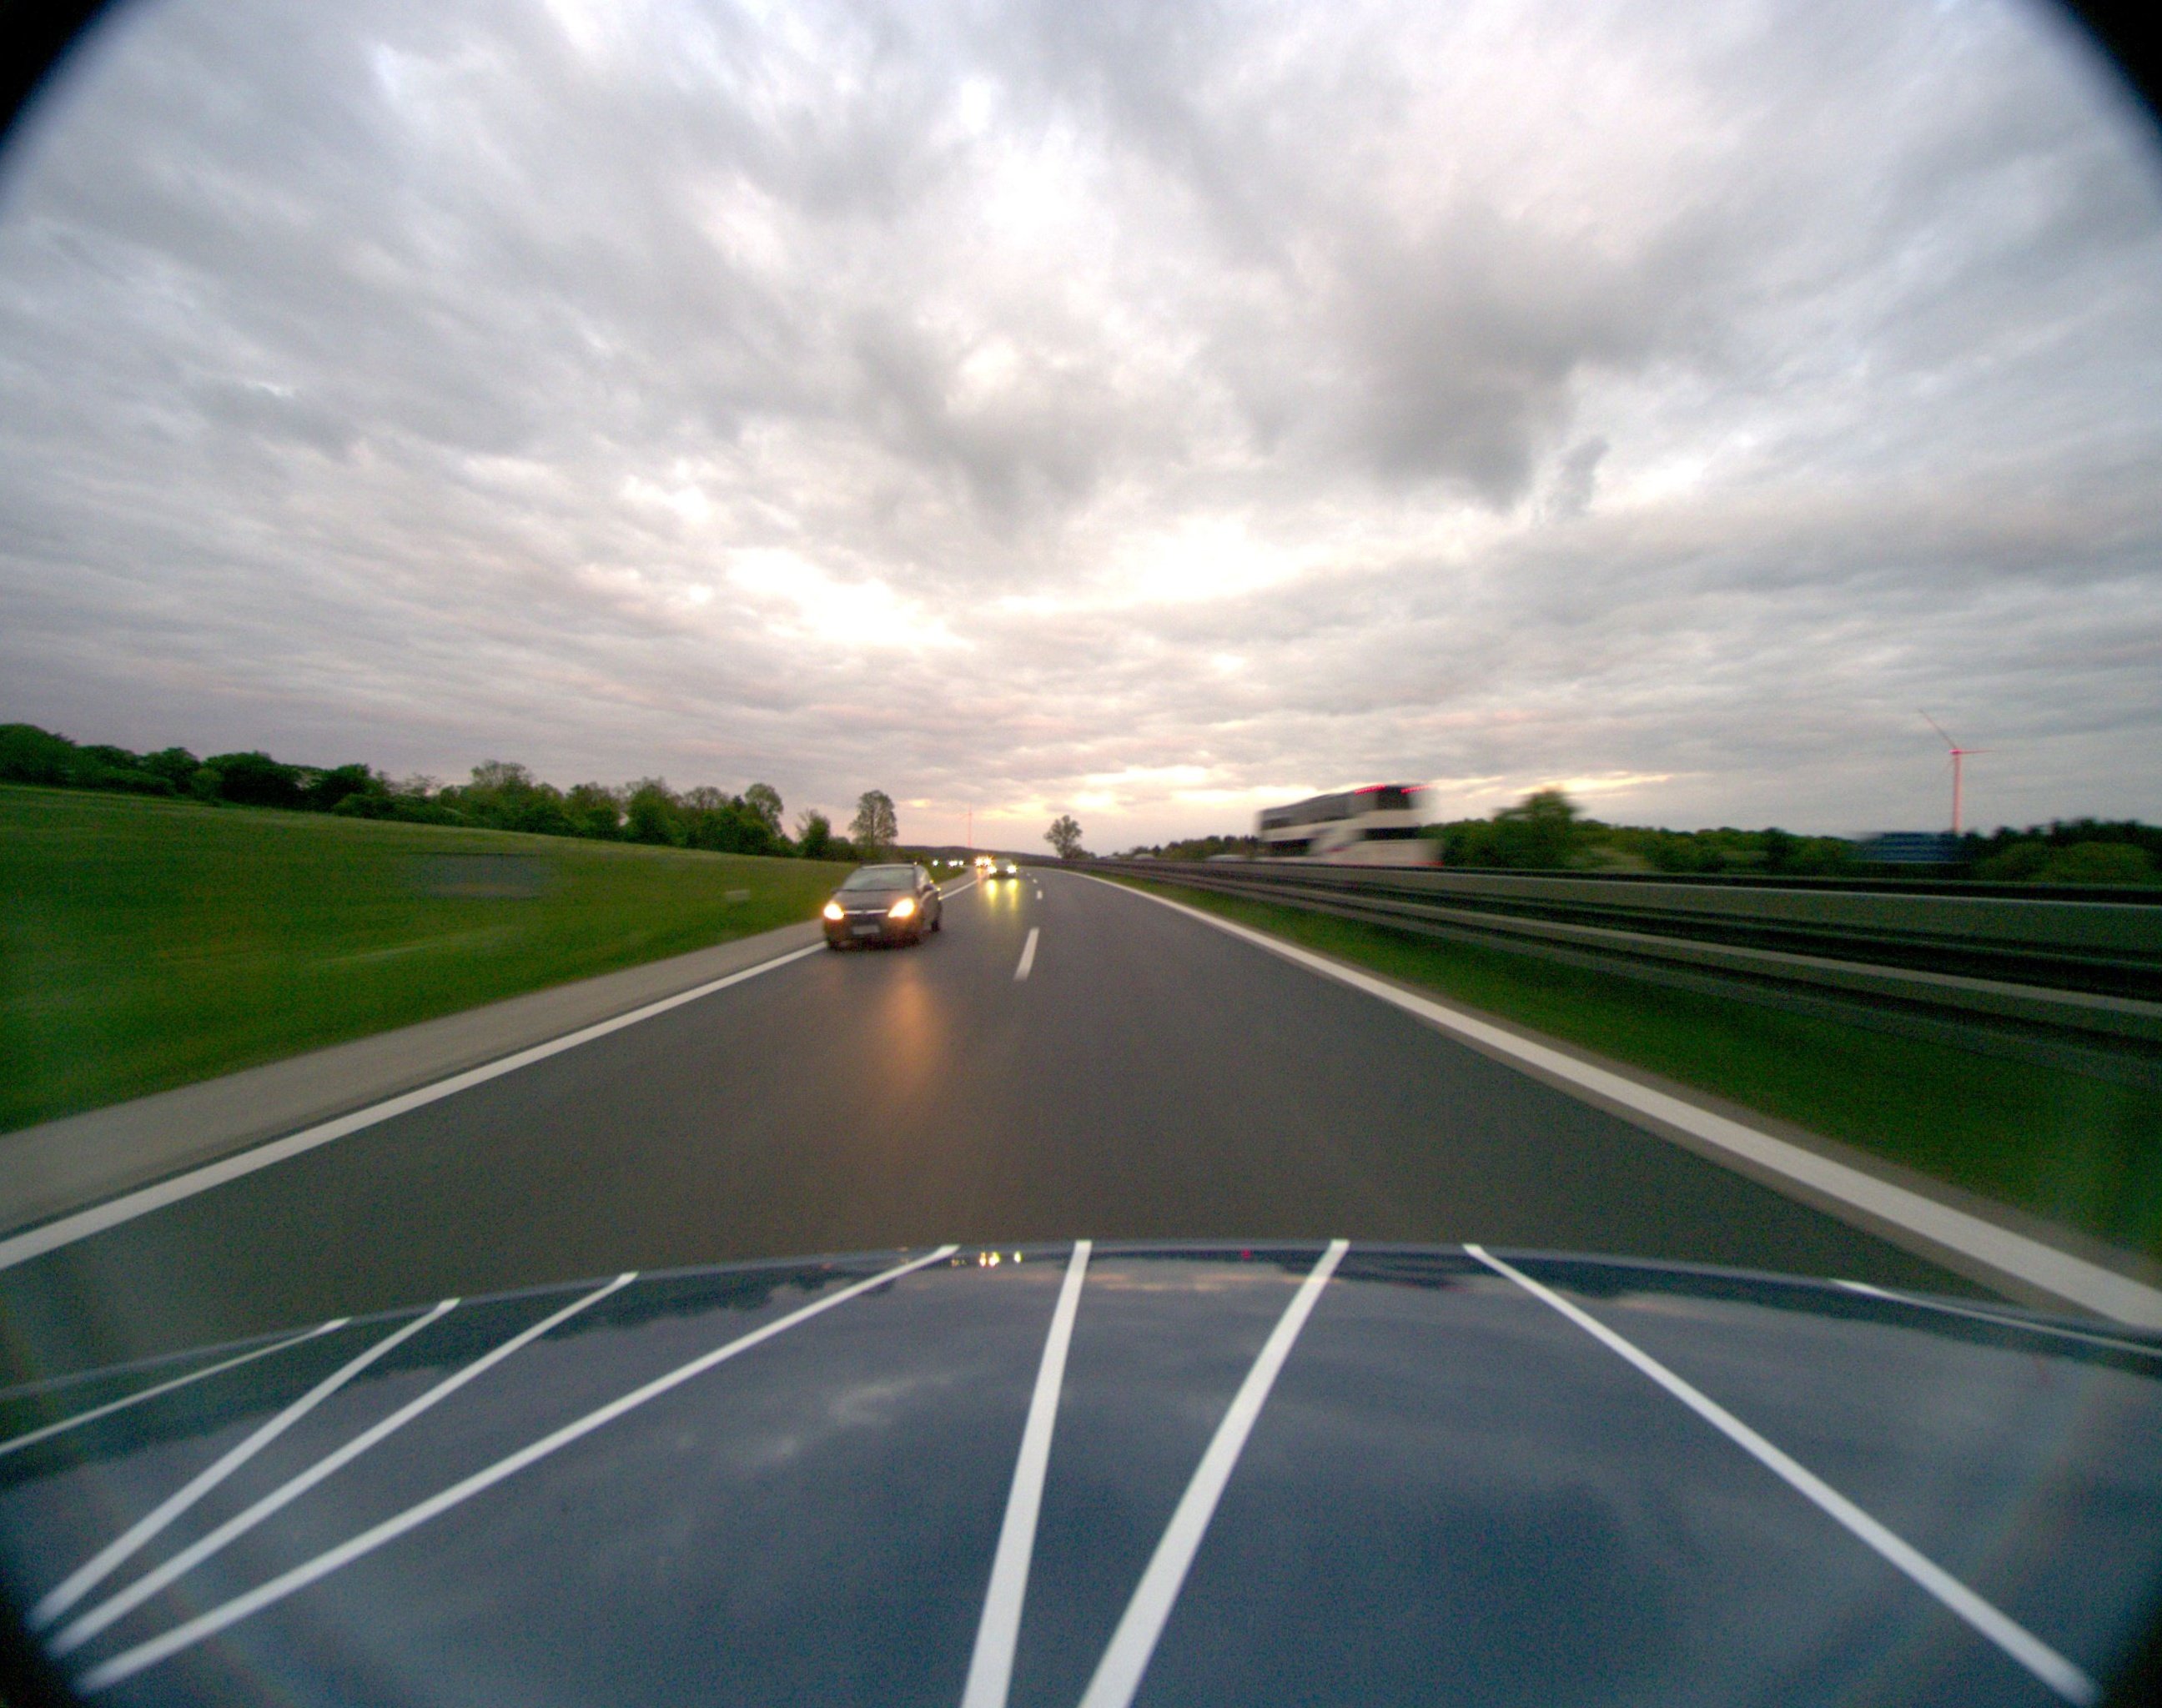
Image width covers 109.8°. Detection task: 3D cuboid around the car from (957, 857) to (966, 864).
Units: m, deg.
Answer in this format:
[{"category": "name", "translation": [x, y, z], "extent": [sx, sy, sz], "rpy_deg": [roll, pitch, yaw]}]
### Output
[{"category": "car", "translation": [-31.417, 1.717, 199.717], "extent": [1.804, 1.635, 4.088], "rpy_deg": [-1, 1, -15]}]

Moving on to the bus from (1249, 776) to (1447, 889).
[{"category": "bus", "translation": [11.501, -0.891, 35.441], "extent": [3.175, 4.053, 14.804], "rpy_deg": [-2, 1, -3]}]

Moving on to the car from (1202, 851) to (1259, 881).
[{"category": "car", "translation": [7.535, 0.584, 38.788], "extent": [1.856, 1.466, 4.166], "rpy_deg": [0, 0, -4]}]

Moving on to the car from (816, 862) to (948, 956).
[{"category": "car", "translation": [-3.748, 0.959, 14.964], "extent": [1.682, 1.504, 3.999], "rpy_deg": [-2, 0, -3]}]

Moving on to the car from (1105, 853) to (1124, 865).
[{"category": "car", "translation": [4.396, 0.618, 101.187], "extent": [1.921, 1.501, 4.727], "rpy_deg": [0, 0, -5]}]

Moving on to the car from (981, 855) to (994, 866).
[{"category": "car", "translation": [-16.598, 1.164, 134.251], "extent": [1.921, 1.827, 3.995], "rpy_deg": [0, 0, -12]}]

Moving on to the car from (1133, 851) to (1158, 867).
[{"category": "car", "translation": [6.276, 0.467, 74.541], "extent": [1.637, 1.546, 4.467], "rpy_deg": [0, 0, -7]}]

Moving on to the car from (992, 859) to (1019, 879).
[{"category": "car", "translation": [-5.660, 1.118, 57.349], "extent": [1.885, 1.388, 3.998], "rpy_deg": [0, 0, -3]}]

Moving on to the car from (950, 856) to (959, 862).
[{"category": "car", "translation": [-36.971, 1.514, 222.096], "extent": [1.805, 1.635, 4.087], "rpy_deg": [-1, 1, -17]}]
